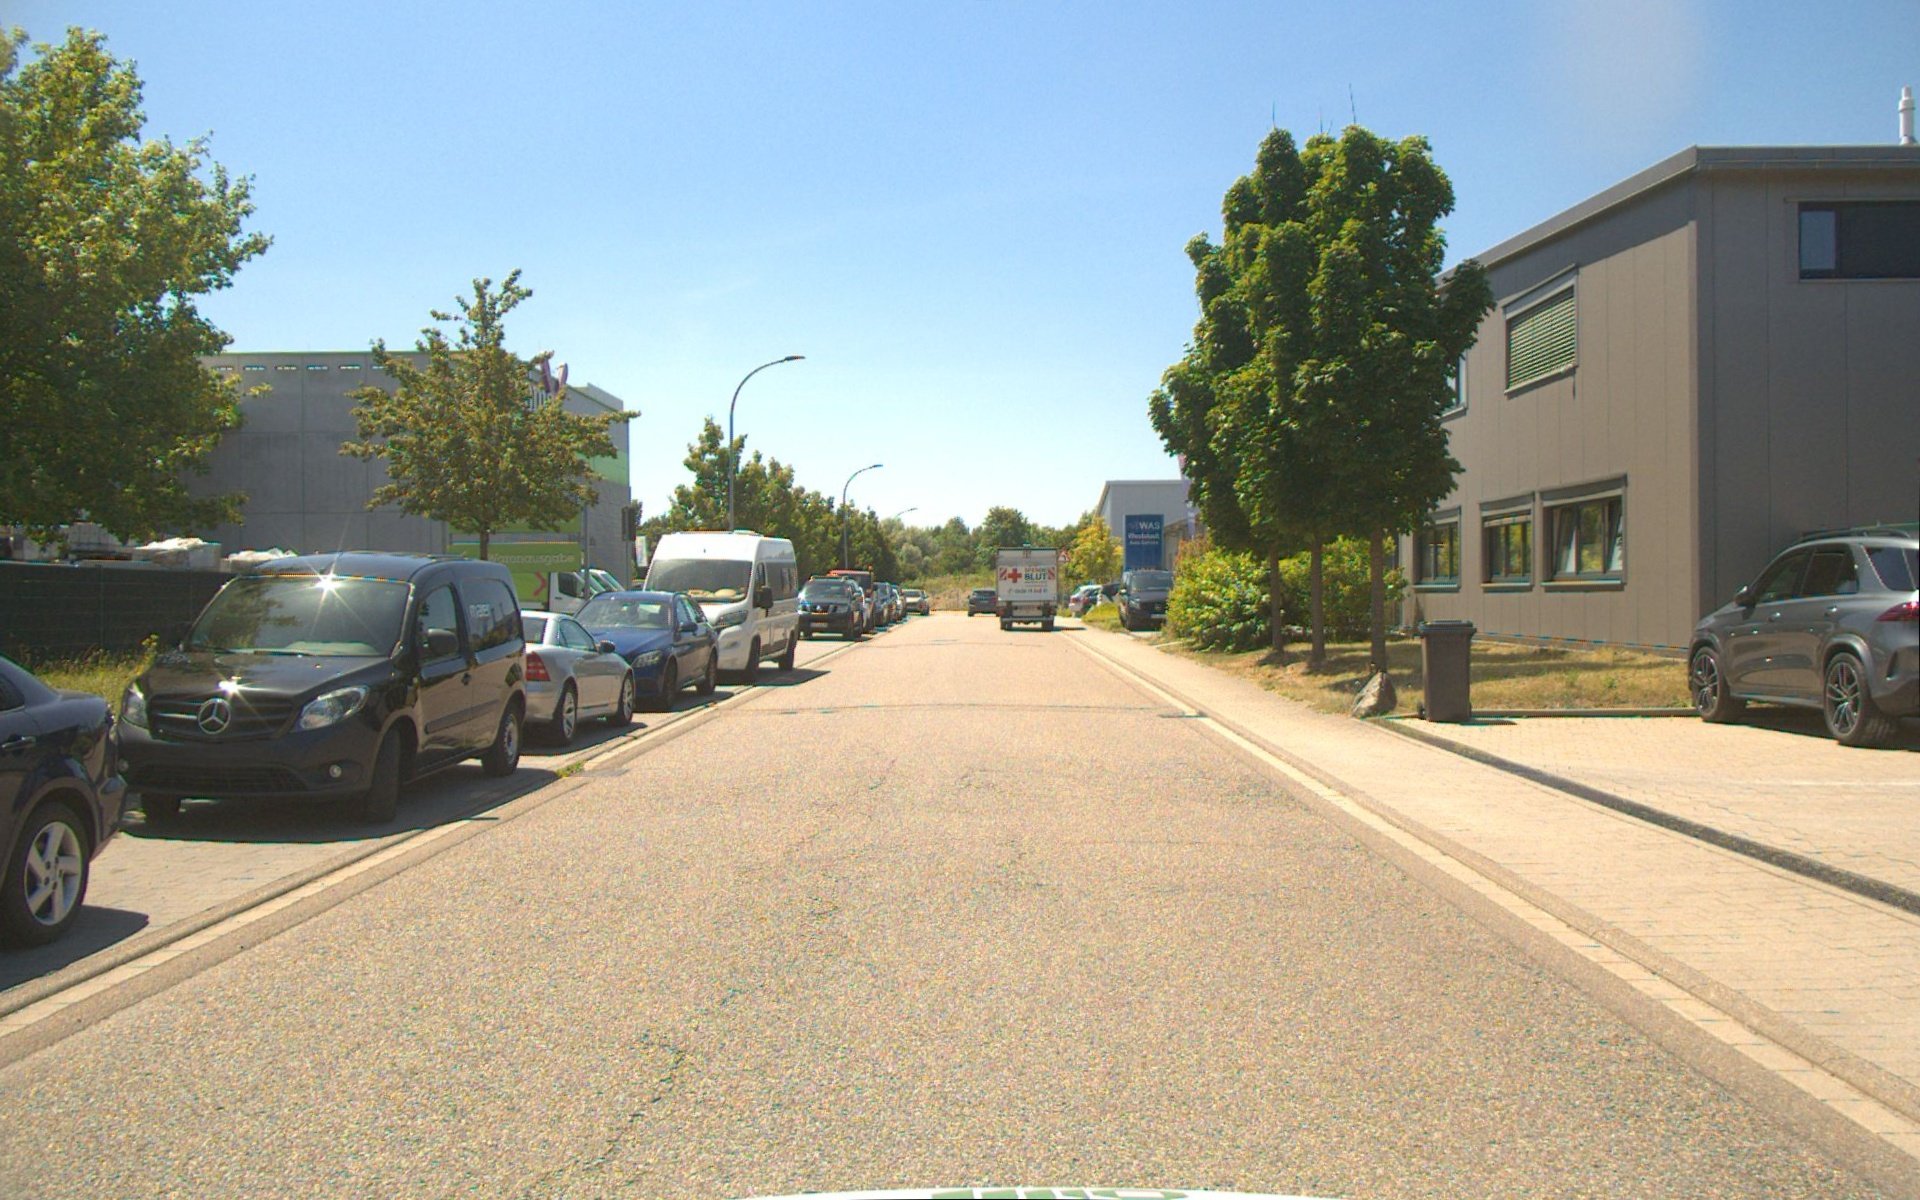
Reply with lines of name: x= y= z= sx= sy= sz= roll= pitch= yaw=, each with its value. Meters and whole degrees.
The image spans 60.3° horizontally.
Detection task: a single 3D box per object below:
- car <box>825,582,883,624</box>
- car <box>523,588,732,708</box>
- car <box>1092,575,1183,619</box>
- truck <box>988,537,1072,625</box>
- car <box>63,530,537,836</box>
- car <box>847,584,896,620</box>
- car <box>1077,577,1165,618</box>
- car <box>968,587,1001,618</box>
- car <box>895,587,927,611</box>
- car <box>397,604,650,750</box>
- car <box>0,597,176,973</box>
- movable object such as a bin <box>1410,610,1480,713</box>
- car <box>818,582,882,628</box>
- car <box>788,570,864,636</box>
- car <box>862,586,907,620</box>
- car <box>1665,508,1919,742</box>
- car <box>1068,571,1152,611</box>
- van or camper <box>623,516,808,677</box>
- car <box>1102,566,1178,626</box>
car: x=-3.975 y=0.097 z=62.530 sx=1.761 sy=1.513 sz=4.254 roll=0 pitch=1 yaw=2
car: x=-4.409 y=0.585 z=22.597 sx=1.761 sy=1.475 sz=4.254 roll=0 pitch=0 yaw=3
car: x=7.886 y=-0.133 z=73.847 sx=3.797 sy=1.780 sz=1.751 roll=2 pitch=0 yaw=-2
truck: x=2.504 y=-0.669 z=60.943 sx=2.872 sy=3.026 sz=6.420 roll=1 pitch=0 yaw=1
car: x=-4.532 y=0.494 z=12.121 sx=1.762 sy=1.846 sz=4.252 roll=0 pitch=0 yaw=0
car: x=-3.849 y=0.060 z=72.373 sx=1.761 sy=1.513 sz=4.254 roll=0 pitch=1 yaw=2
car: x=7.400 y=-0.105 z=76.128 sx=3.797 sy=1.780 sz=1.751 roll=1 pitch=0 yaw=-2
car: x=1.374 y=0.151 z=92.597 sx=1.752 sy=1.652 sz=3.809 roll=1 pitch=0 yaw=1
car: x=-3.133 y=-0.065 z=107.122 sx=1.761 sy=1.513 sz=4.254 roll=0 pitch=1 yaw=2
car: x=-4.397 y=0.716 z=17.220 sx=1.447 sy=1.320 sz=3.900 roll=0 pitch=0 yaw=3
car: x=-4.724 y=0.744 z=5.801 sx=1.762 sy=1.501 sz=4.588 roll=0 pitch=0 yaw=0
movable object such as a bin: x=5.199 y=0.646 z=17.777 sx=0.520 sy=1.071 sz=0.845 roll=-1 pitch=0 yaw=3
car: x=-3.760 y=0.159 z=57.292 sx=1.761 sy=1.513 sz=4.254 roll=0 pitch=1 yaw=2
car: x=-3.968 y=0.061 z=49.567 sx=1.761 sy=1.881 sz=4.254 roll=0 pitch=1 yaw=2
car: x=-3.542 y=0.122 z=78.026 sx=1.761 sy=1.513 sz=4.254 roll=0 pitch=1 yaw=2
car: x=8.345 y=0.186 z=15.261 sx=1.748 sy=1.814 sz=4.907 roll=-2 pitch=-1 yaw=3
car: x=7.115 y=-0.423 z=78.778 sx=3.797 sy=1.780 sz=1.751 roll=1 pitch=0 yaw=-2
van or camper: x=-4.193 y=-0.068 z=29.515 sx=2.035 sy=2.526 sz=6.133 roll=1 pitch=0 yaw=3
car: x=5.878 y=-0.132 z=54.453 sx=1.953 sy=1.835 sz=4.138 roll=-1 pitch=0 yaw=-1
